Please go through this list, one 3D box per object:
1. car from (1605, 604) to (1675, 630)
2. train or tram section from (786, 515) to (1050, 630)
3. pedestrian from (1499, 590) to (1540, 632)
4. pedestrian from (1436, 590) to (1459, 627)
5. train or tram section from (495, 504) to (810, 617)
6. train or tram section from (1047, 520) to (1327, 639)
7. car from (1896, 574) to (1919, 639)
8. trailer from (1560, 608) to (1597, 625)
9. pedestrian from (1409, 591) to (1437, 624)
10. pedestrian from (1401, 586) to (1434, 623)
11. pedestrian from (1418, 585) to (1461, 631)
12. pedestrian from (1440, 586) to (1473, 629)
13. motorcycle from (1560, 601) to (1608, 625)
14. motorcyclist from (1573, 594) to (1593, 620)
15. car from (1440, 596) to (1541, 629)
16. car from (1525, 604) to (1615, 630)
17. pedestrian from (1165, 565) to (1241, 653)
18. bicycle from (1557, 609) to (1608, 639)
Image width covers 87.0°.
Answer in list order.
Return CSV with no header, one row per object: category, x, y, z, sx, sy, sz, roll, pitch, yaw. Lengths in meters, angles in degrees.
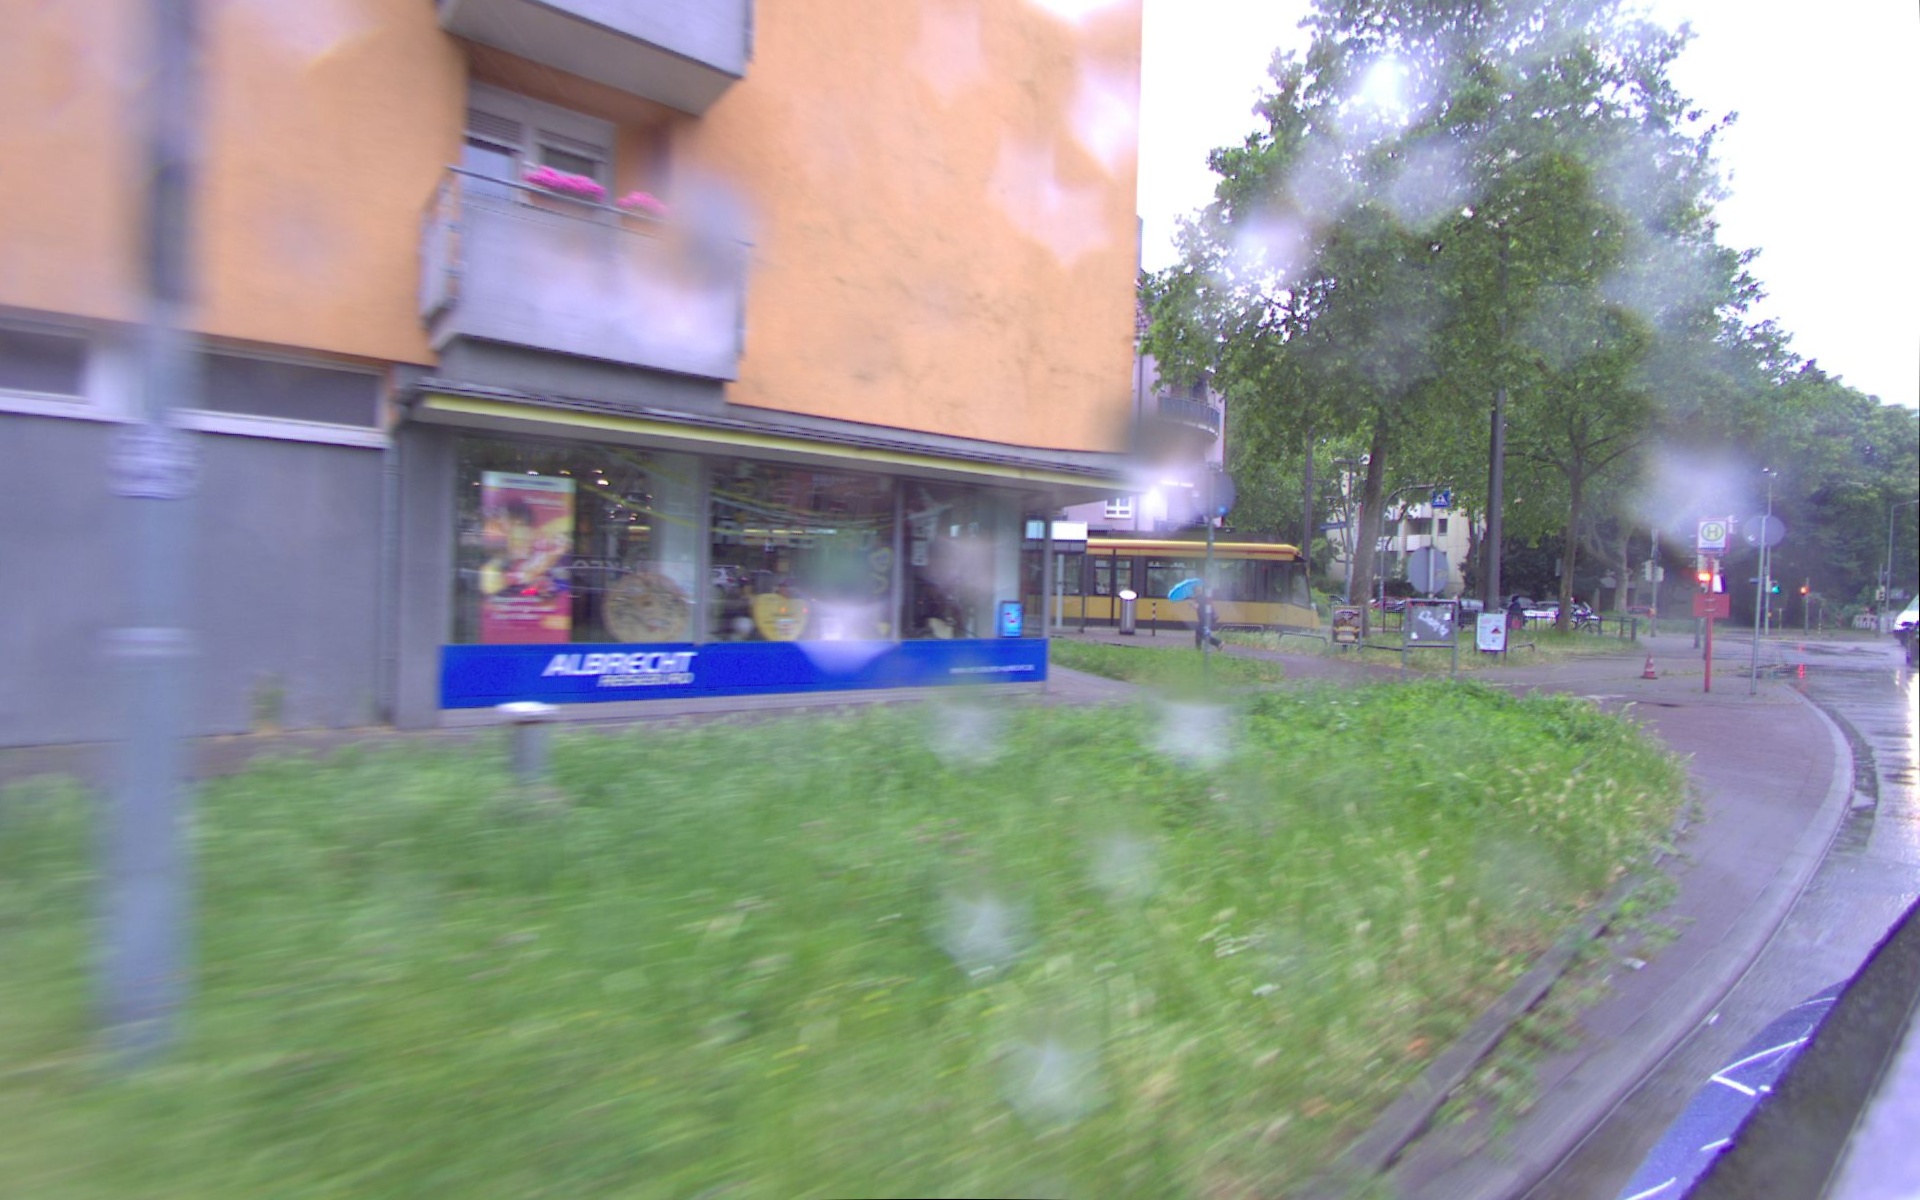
car,43.965,1.069,65.478,1.810,1.544,3.455,2,0,-41
train or tram section,-1.246,-0.888,32.884,8.231,3.394,2.641,2,0,6
pedestrian,23.594,0.460,42.682,0.975,1.707,1.058,2,1,-26
pedestrian,21.082,0.361,43.746,0.752,1.567,0.688,2,1,18
train or tram section,-10.168,-1.307,33.888,9.814,3.394,2.641,2,0,6
train or tram section,6.933,-0.657,31.893,8.233,3.412,2.641,2,0,7
car,41.481,0.329,41.032,6.374,2.594,2.289,1,0,-17
trailer,32.946,0.895,53.893,1.010,0.852,1.479,2,0,-43
pedestrian,20.429,0.318,44.667,1.003,1.399,0.666,3,1,31
pedestrian,19.930,0.169,44.088,1.048,1.544,0.876,3,1,11
pedestrian,19.652,0.317,41.481,1.019,1.811,1.236,2,0,-38
pedestrian,21.751,0.327,44.347,0.797,1.803,0.994,2,1,-37
motorcycle,33.649,0.713,54.584,0.866,1.230,2.069,2,0,-44
motorcyclist,33.638,0.399,54.610,0.745,1.368,0.753,2,0,-44
car,26.806,0.606,51.179,4.164,1.479,1.963,2,0,43
car,34.564,0.942,57.400,4.155,1.291,1.874,1,0,42
pedestrian,5.490,0.179,22.860,1.373,1.888,1.162,2,0,29
bicycle,23.439,0.893,38.129,1.603,1.090,0.442,2,0,28
